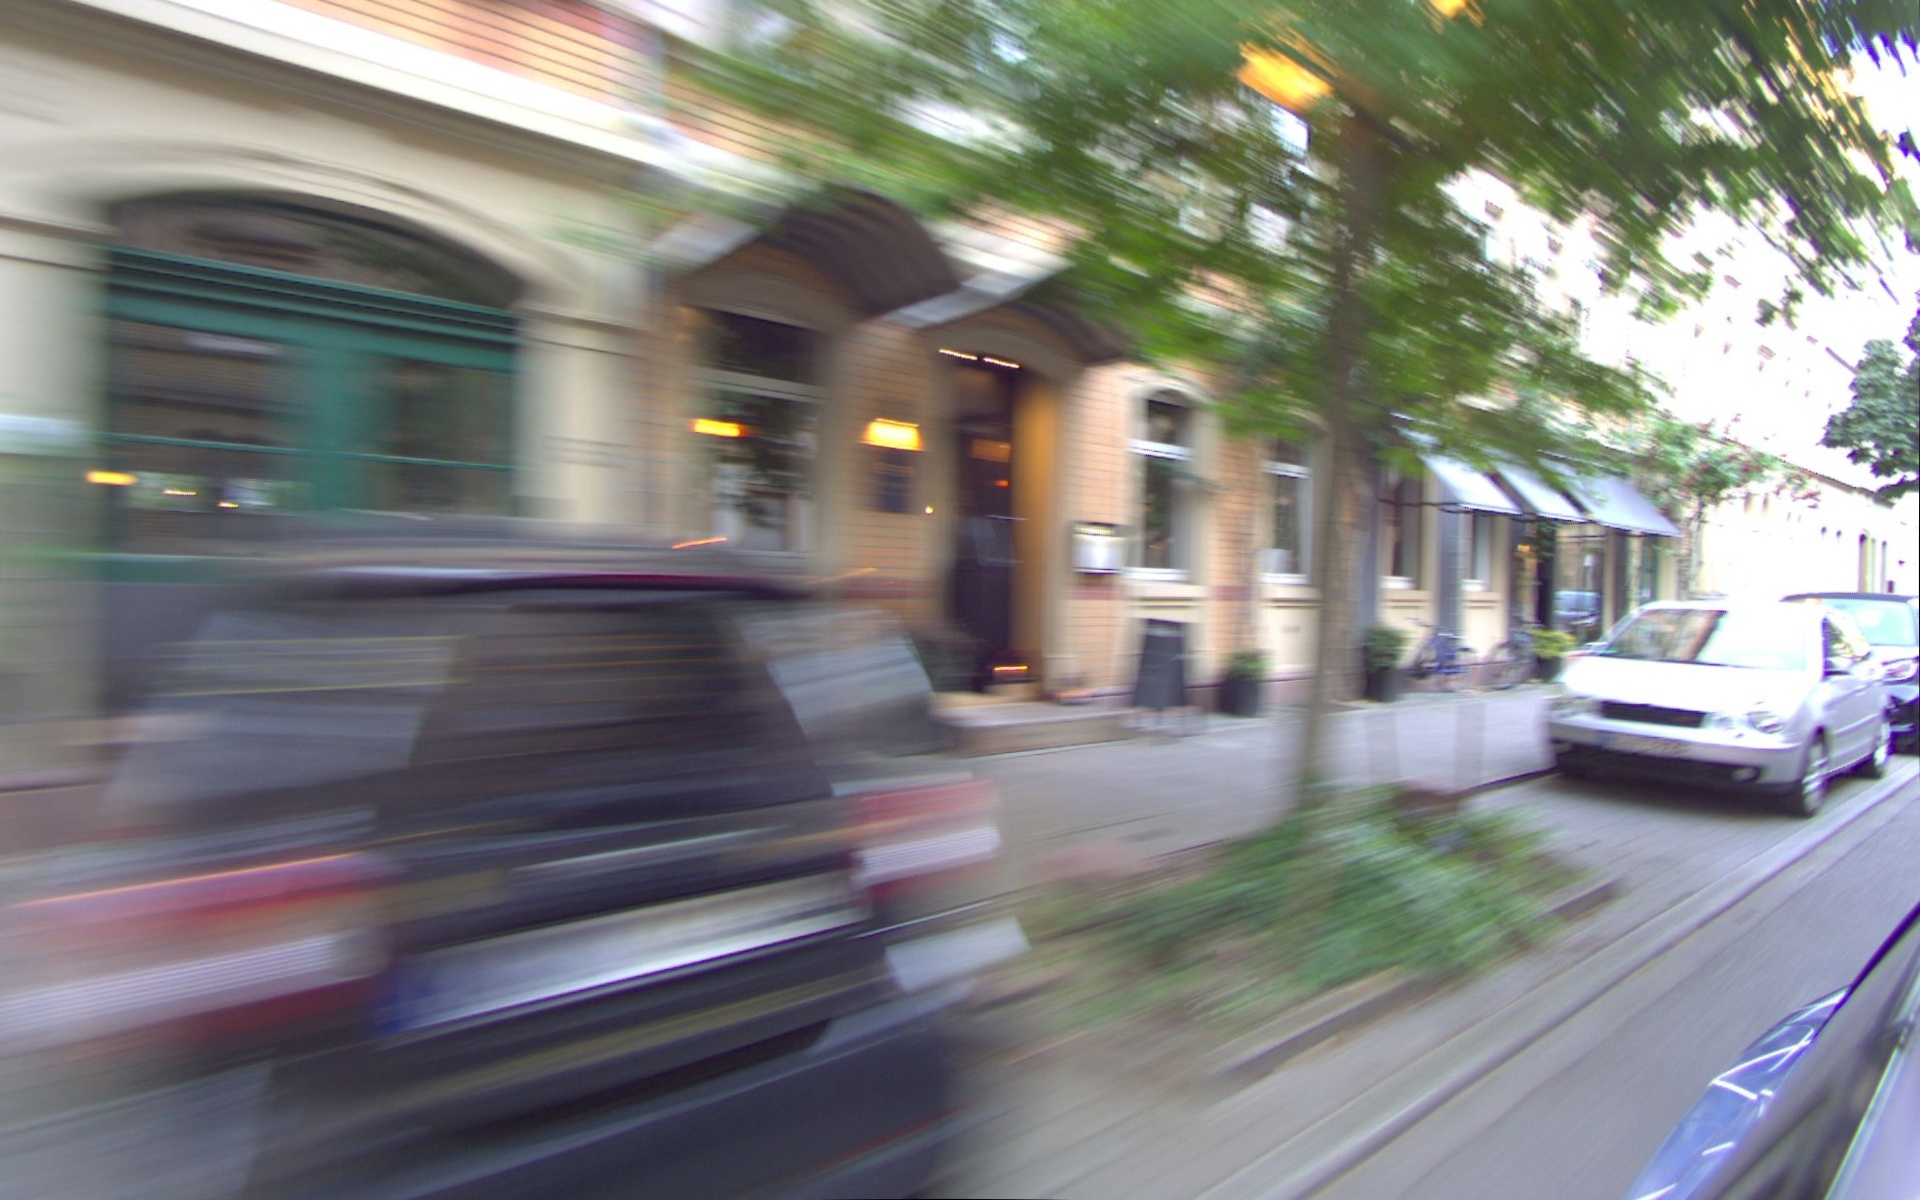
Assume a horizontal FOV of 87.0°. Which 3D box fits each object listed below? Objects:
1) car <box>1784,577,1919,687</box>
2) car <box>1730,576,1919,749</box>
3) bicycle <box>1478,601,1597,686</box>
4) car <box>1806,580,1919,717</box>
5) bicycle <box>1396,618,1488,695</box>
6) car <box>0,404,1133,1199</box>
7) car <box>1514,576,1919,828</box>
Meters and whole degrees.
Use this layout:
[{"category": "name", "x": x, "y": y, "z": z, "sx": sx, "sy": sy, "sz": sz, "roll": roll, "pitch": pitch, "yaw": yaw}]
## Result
[{"category": "car", "x": 14.954, "y": 0.506, "z": 15.968, "sx": 1.498, "sy": 1.592, "sz": 2.722, "roll": 1, "pitch": 3, "yaw": -39}, {"category": "car", "x": 9.590, "y": 0.565, "z": 10.788, "sx": 3.068, "sy": 1.580, "sz": 1.594, "roll": 0, "pitch": 1, "yaw": -41}, {"category": "bicycle", "x": 7.914, "y": 0.562, "z": 13.835, "sx": 1.915, "sy": 1.048, "sz": 0.688, "roll": 0, "pitch": 4, "yaw": -38}, {"category": "car", "x": 12.084, "y": 0.567, "z": 12.998, "sx": 2.868, "sy": 1.571, "sz": 1.466, "roll": 0, "pitch": 2, "yaw": -43}, {"category": "bicycle", "x": 5.972, "y": 0.669, "z": 12.511, "sx": 1.520, "sy": 0.870, "sz": 0.446, "roll": 0, "pitch": 1, "yaw": -41}, {"category": "car", "x": -1.232, "y": 0.491, "z": 2.681, "sx": 1.768, "sy": 1.618, "sz": 2.806, "roll": 0, "pitch": 4, "yaw": -38}, {"category": "car", "x": 6.226, "y": 0.613, "z": 8.115, "sx": 4.030, "sy": 1.509, "sz": 1.737, "roll": 0, "pitch": 2, "yaw": -39}]
